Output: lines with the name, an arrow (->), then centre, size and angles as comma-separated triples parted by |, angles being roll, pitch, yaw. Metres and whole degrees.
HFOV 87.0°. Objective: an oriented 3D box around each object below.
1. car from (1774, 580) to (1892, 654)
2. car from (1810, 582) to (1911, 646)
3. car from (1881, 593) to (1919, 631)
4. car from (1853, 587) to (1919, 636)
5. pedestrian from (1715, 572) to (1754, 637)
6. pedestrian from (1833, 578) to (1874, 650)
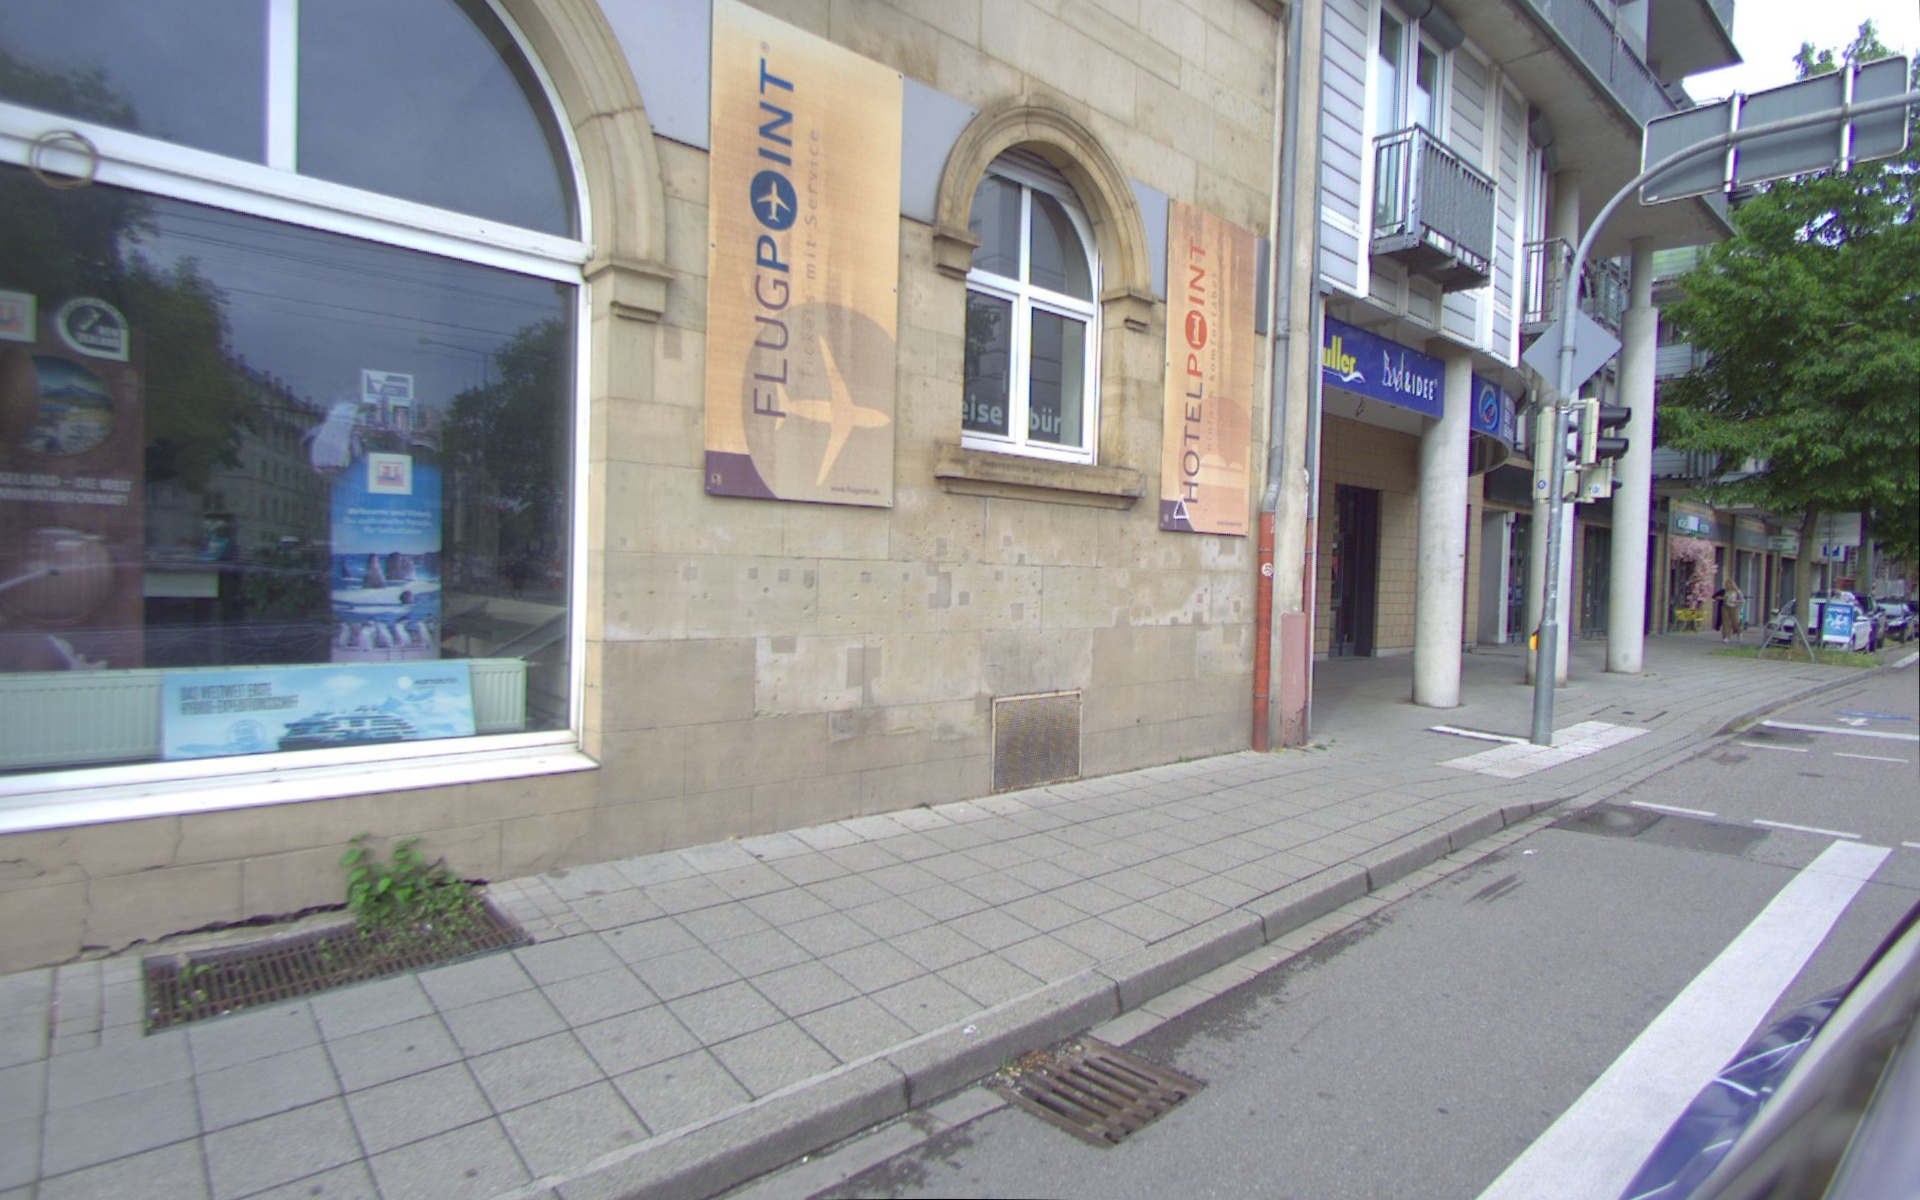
car -> 22.825, 0.407, 26.416 | 4.033, 1.681, 1.730 | 0, 4, -42
car -> 26.591, 0.377, 29.853 | 3.875, 1.682, 1.730 | 0, 3, -42
car -> 38.794, 0.490, 41.021 | 3.750, 1.400, 1.730 | 0, 3, -42
car -> 33.394, 0.375, 36.174 | 3.875, 1.563, 1.684 | 0, 3, -42
pedestrian -> 22.050, 0.125, 28.823 | 0.825, 1.828, 0.744 | 0, 0, -43
pedestrian -> 24.829, 0.376, 28.131 | 0.630, 1.958, 0.655 | 0, 0, -27
